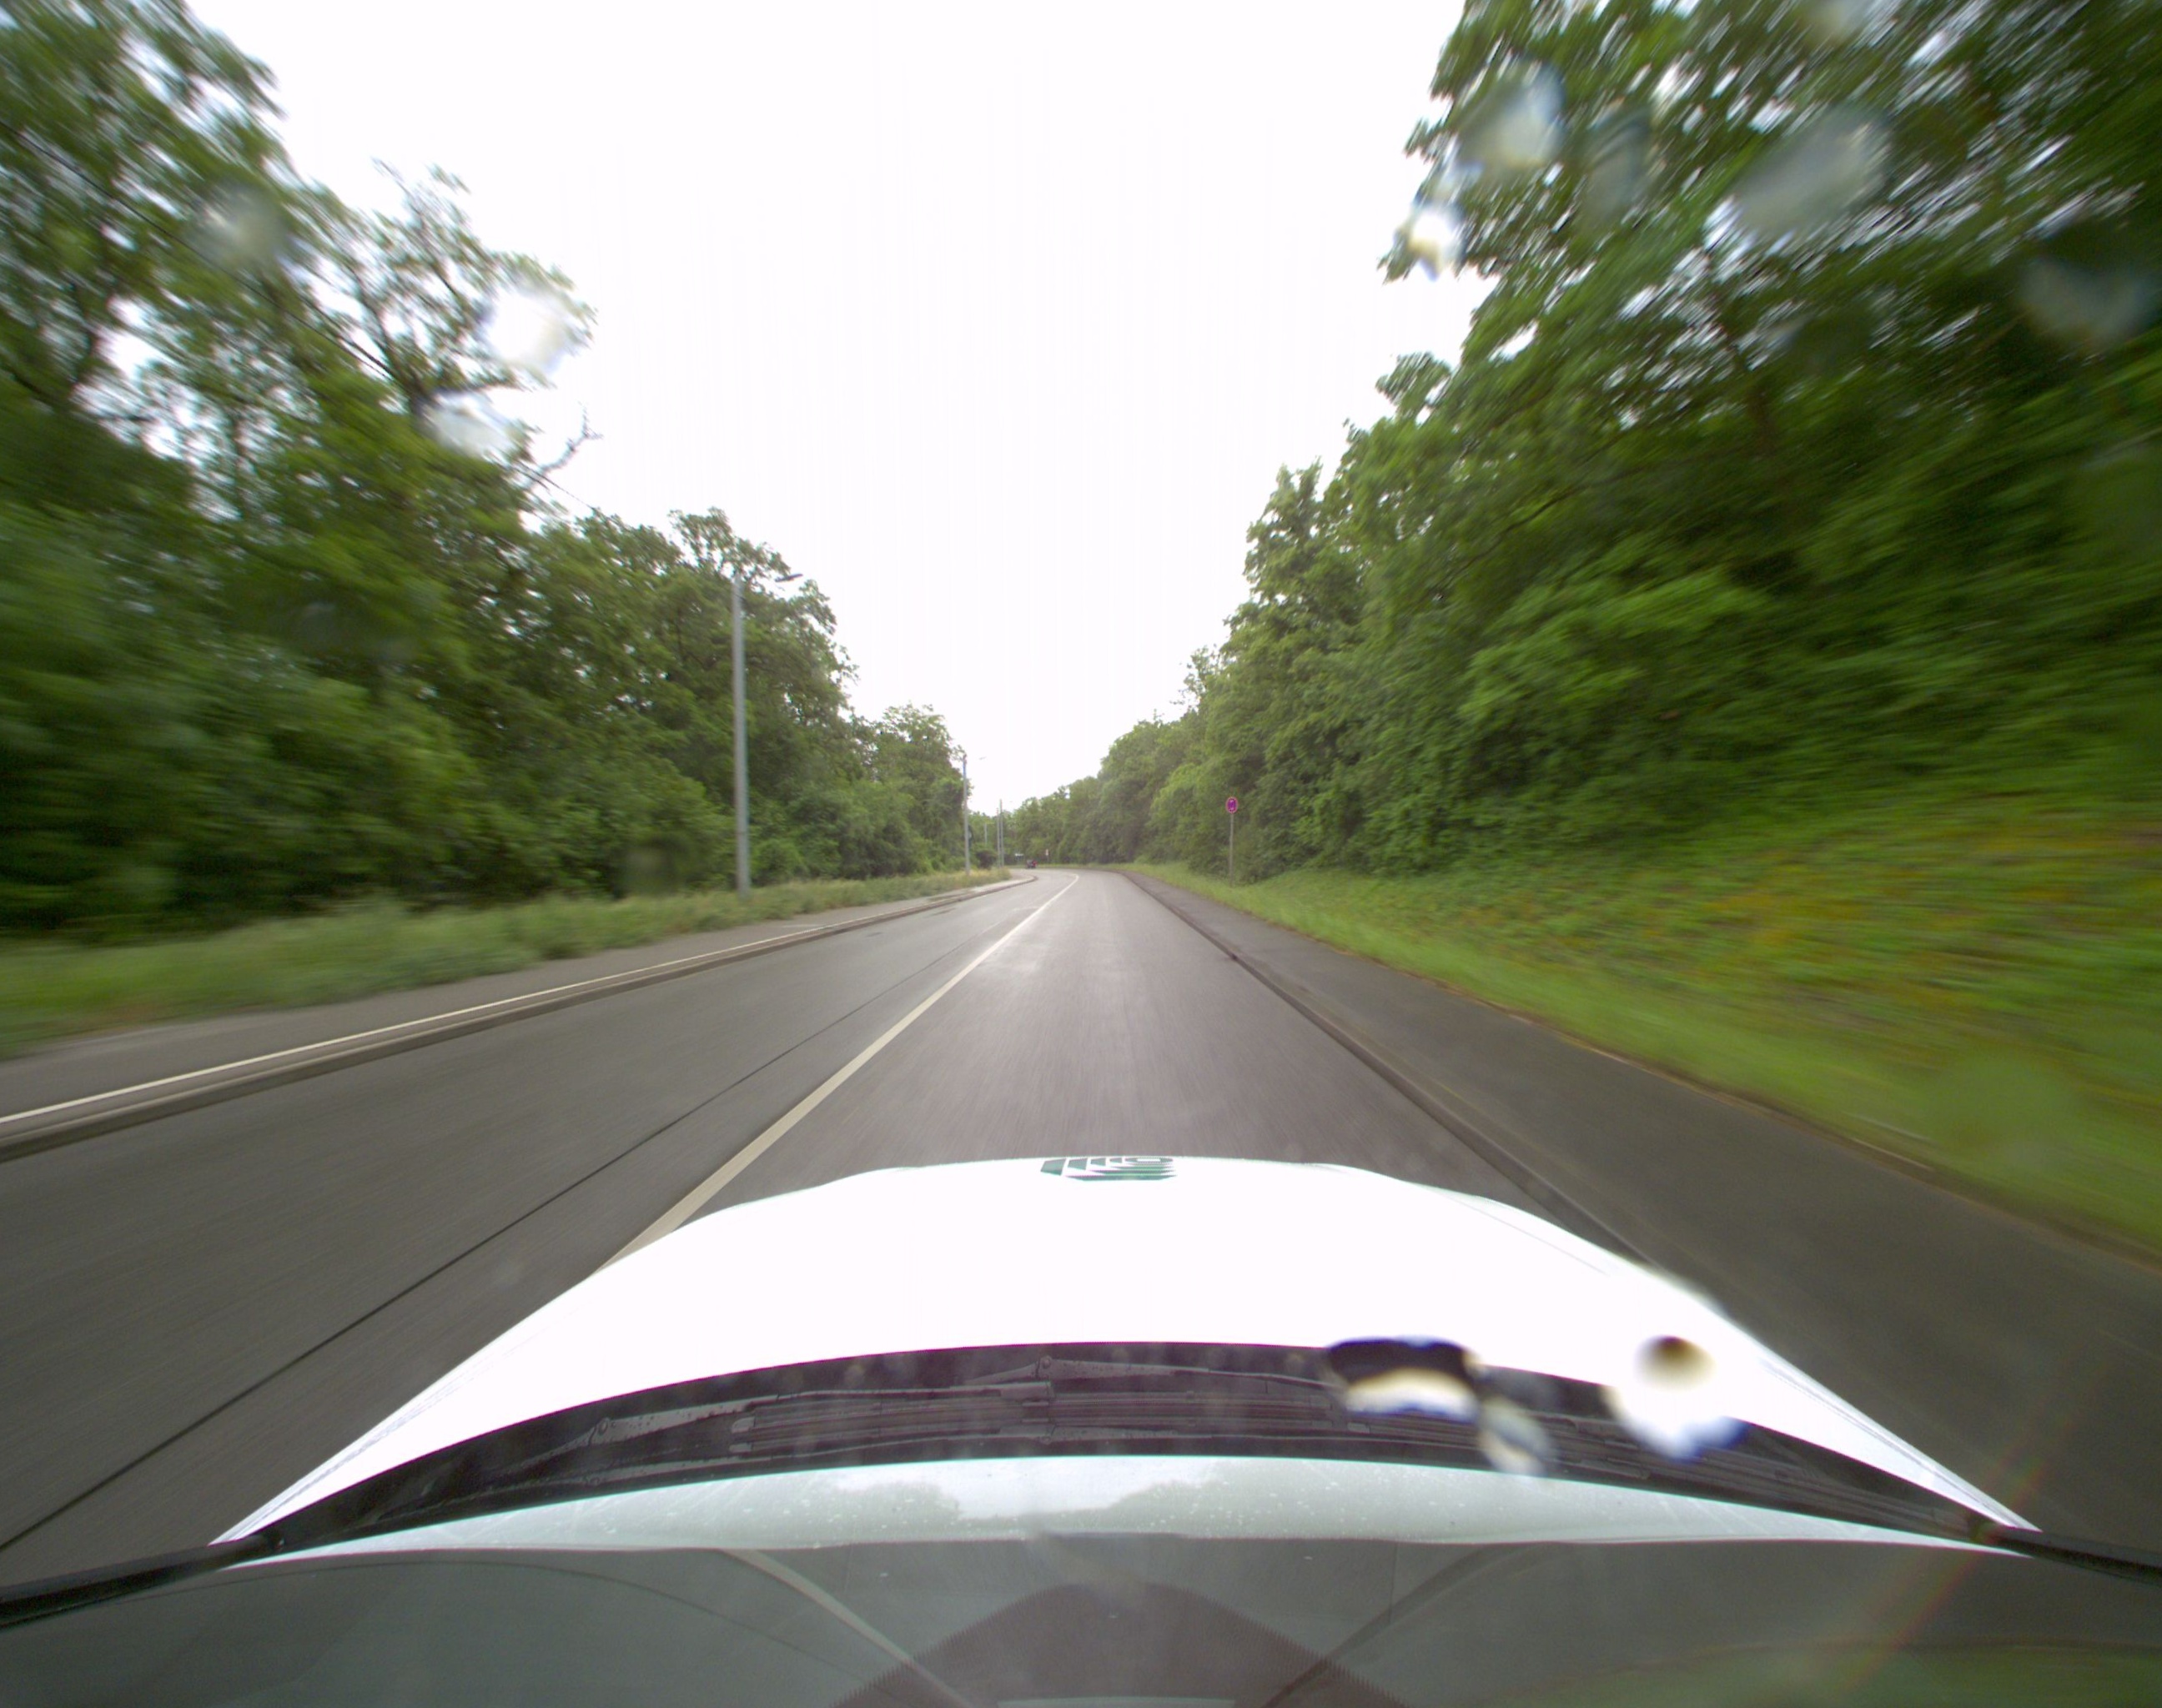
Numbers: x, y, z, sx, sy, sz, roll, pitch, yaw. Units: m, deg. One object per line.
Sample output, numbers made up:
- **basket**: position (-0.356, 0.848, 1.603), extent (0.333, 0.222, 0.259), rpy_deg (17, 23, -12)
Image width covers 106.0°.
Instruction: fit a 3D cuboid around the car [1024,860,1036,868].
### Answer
- **car**: position (-10.635, 2.060, 169.156), extent (1.869, 1.596, 3.982), rpy_deg (2, -1, -13)
